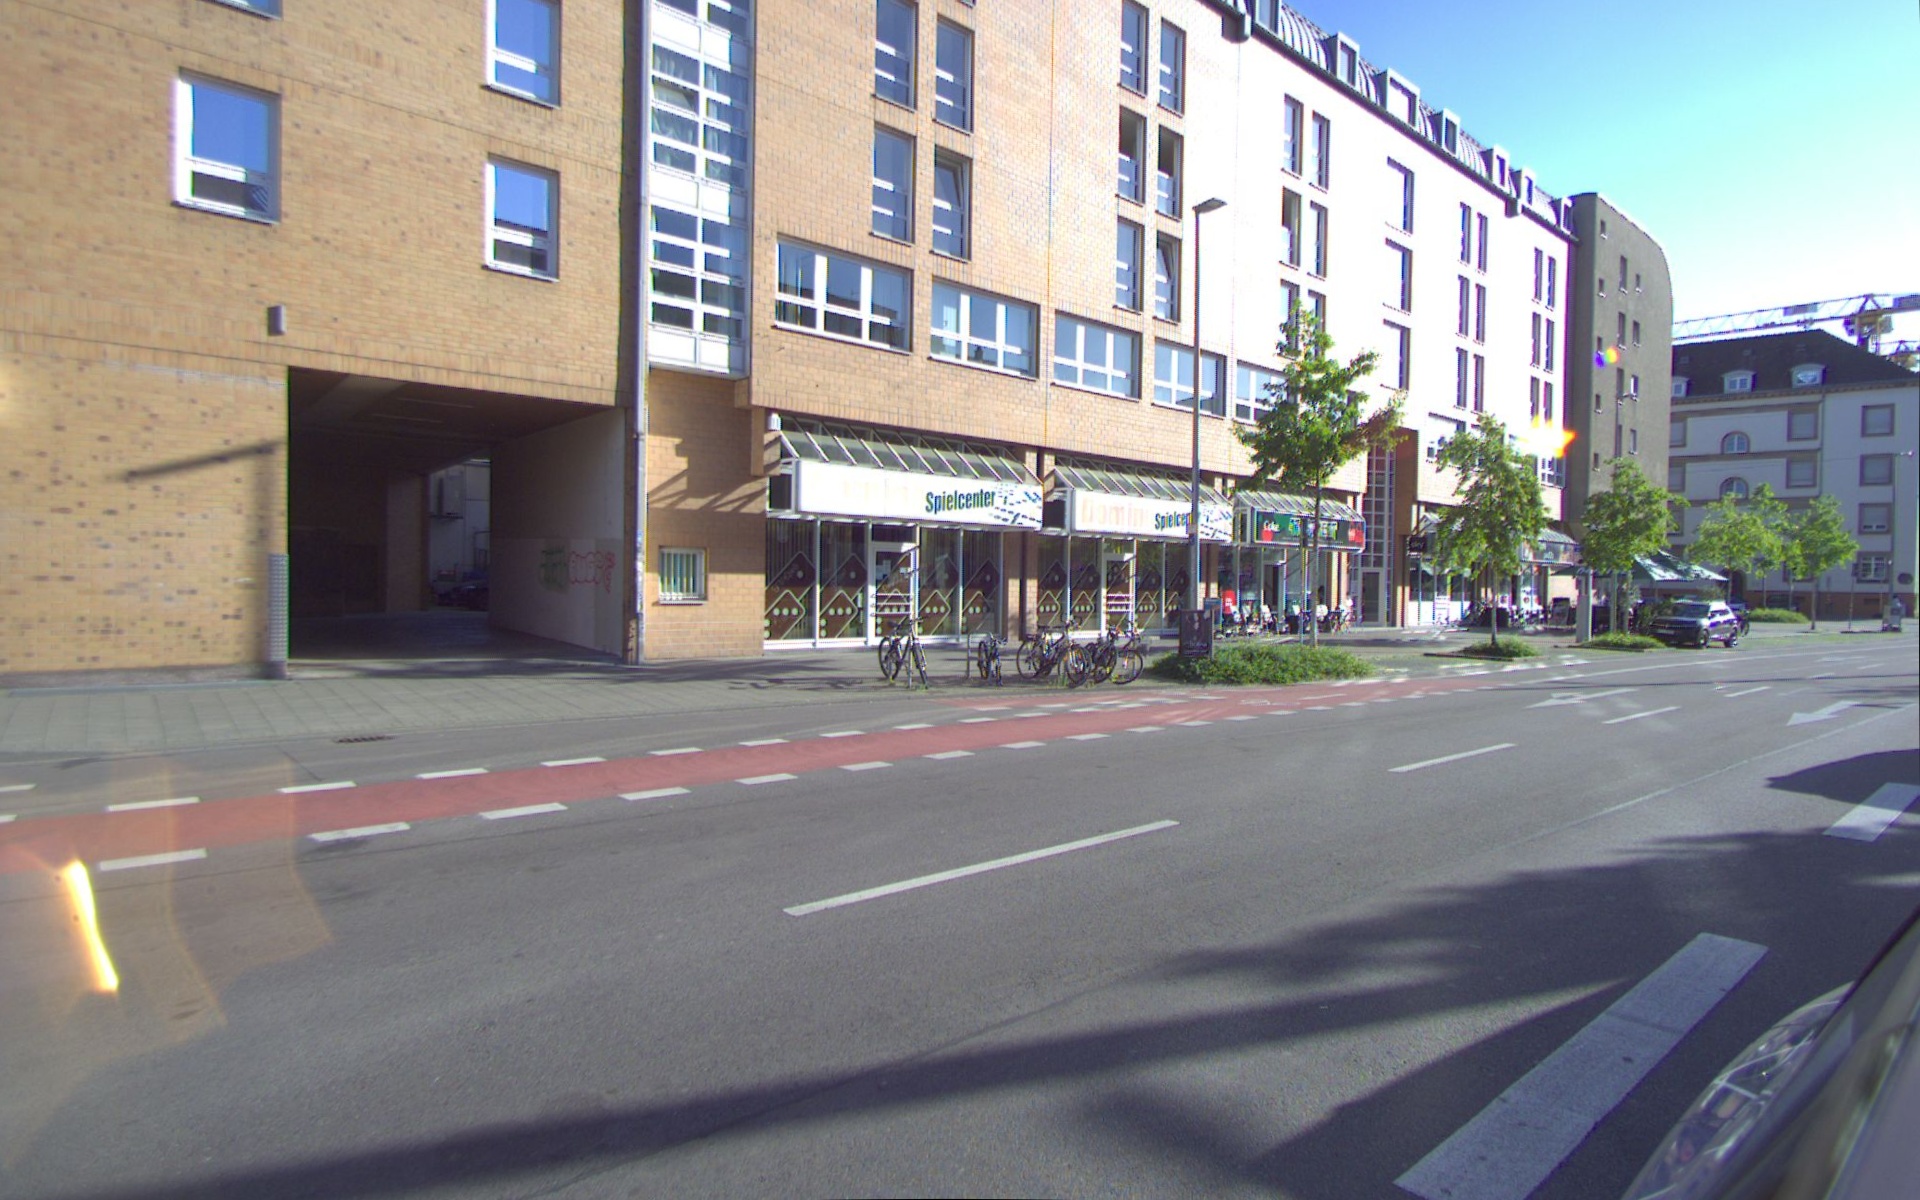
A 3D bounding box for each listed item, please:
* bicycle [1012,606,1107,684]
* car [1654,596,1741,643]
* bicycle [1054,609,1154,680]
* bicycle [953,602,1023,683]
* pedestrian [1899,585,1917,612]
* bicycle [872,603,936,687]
[{"bbox_3d":[1.671,0.729,17.240,0.543,1.155,1.775,-1,3,-37],"label":"bicycle"},{"bbox_3d":[25.804,0.636,35.393,3.628,1.549,1.654,-1,0,-40],"label":"car"},{"bbox_3d":[2.547,0.758,18.076,0.724,1.084,1.775,-1,3,-37],"label":"bicycle"},{"bbox_3d":[0.443,0.674,16.768,0.541,1.162,1.780,0,3,-20],"label":"bicycle"},{"bbox_3d":[59.766,-0.075,63.815,0.801,1.687,0.877,2,1,43],"label":"pedestrian"},{"bbox_3d":[-0.924,0.686,16.298,0.541,1.162,1.780,0,3,-20],"label":"bicycle"}]
